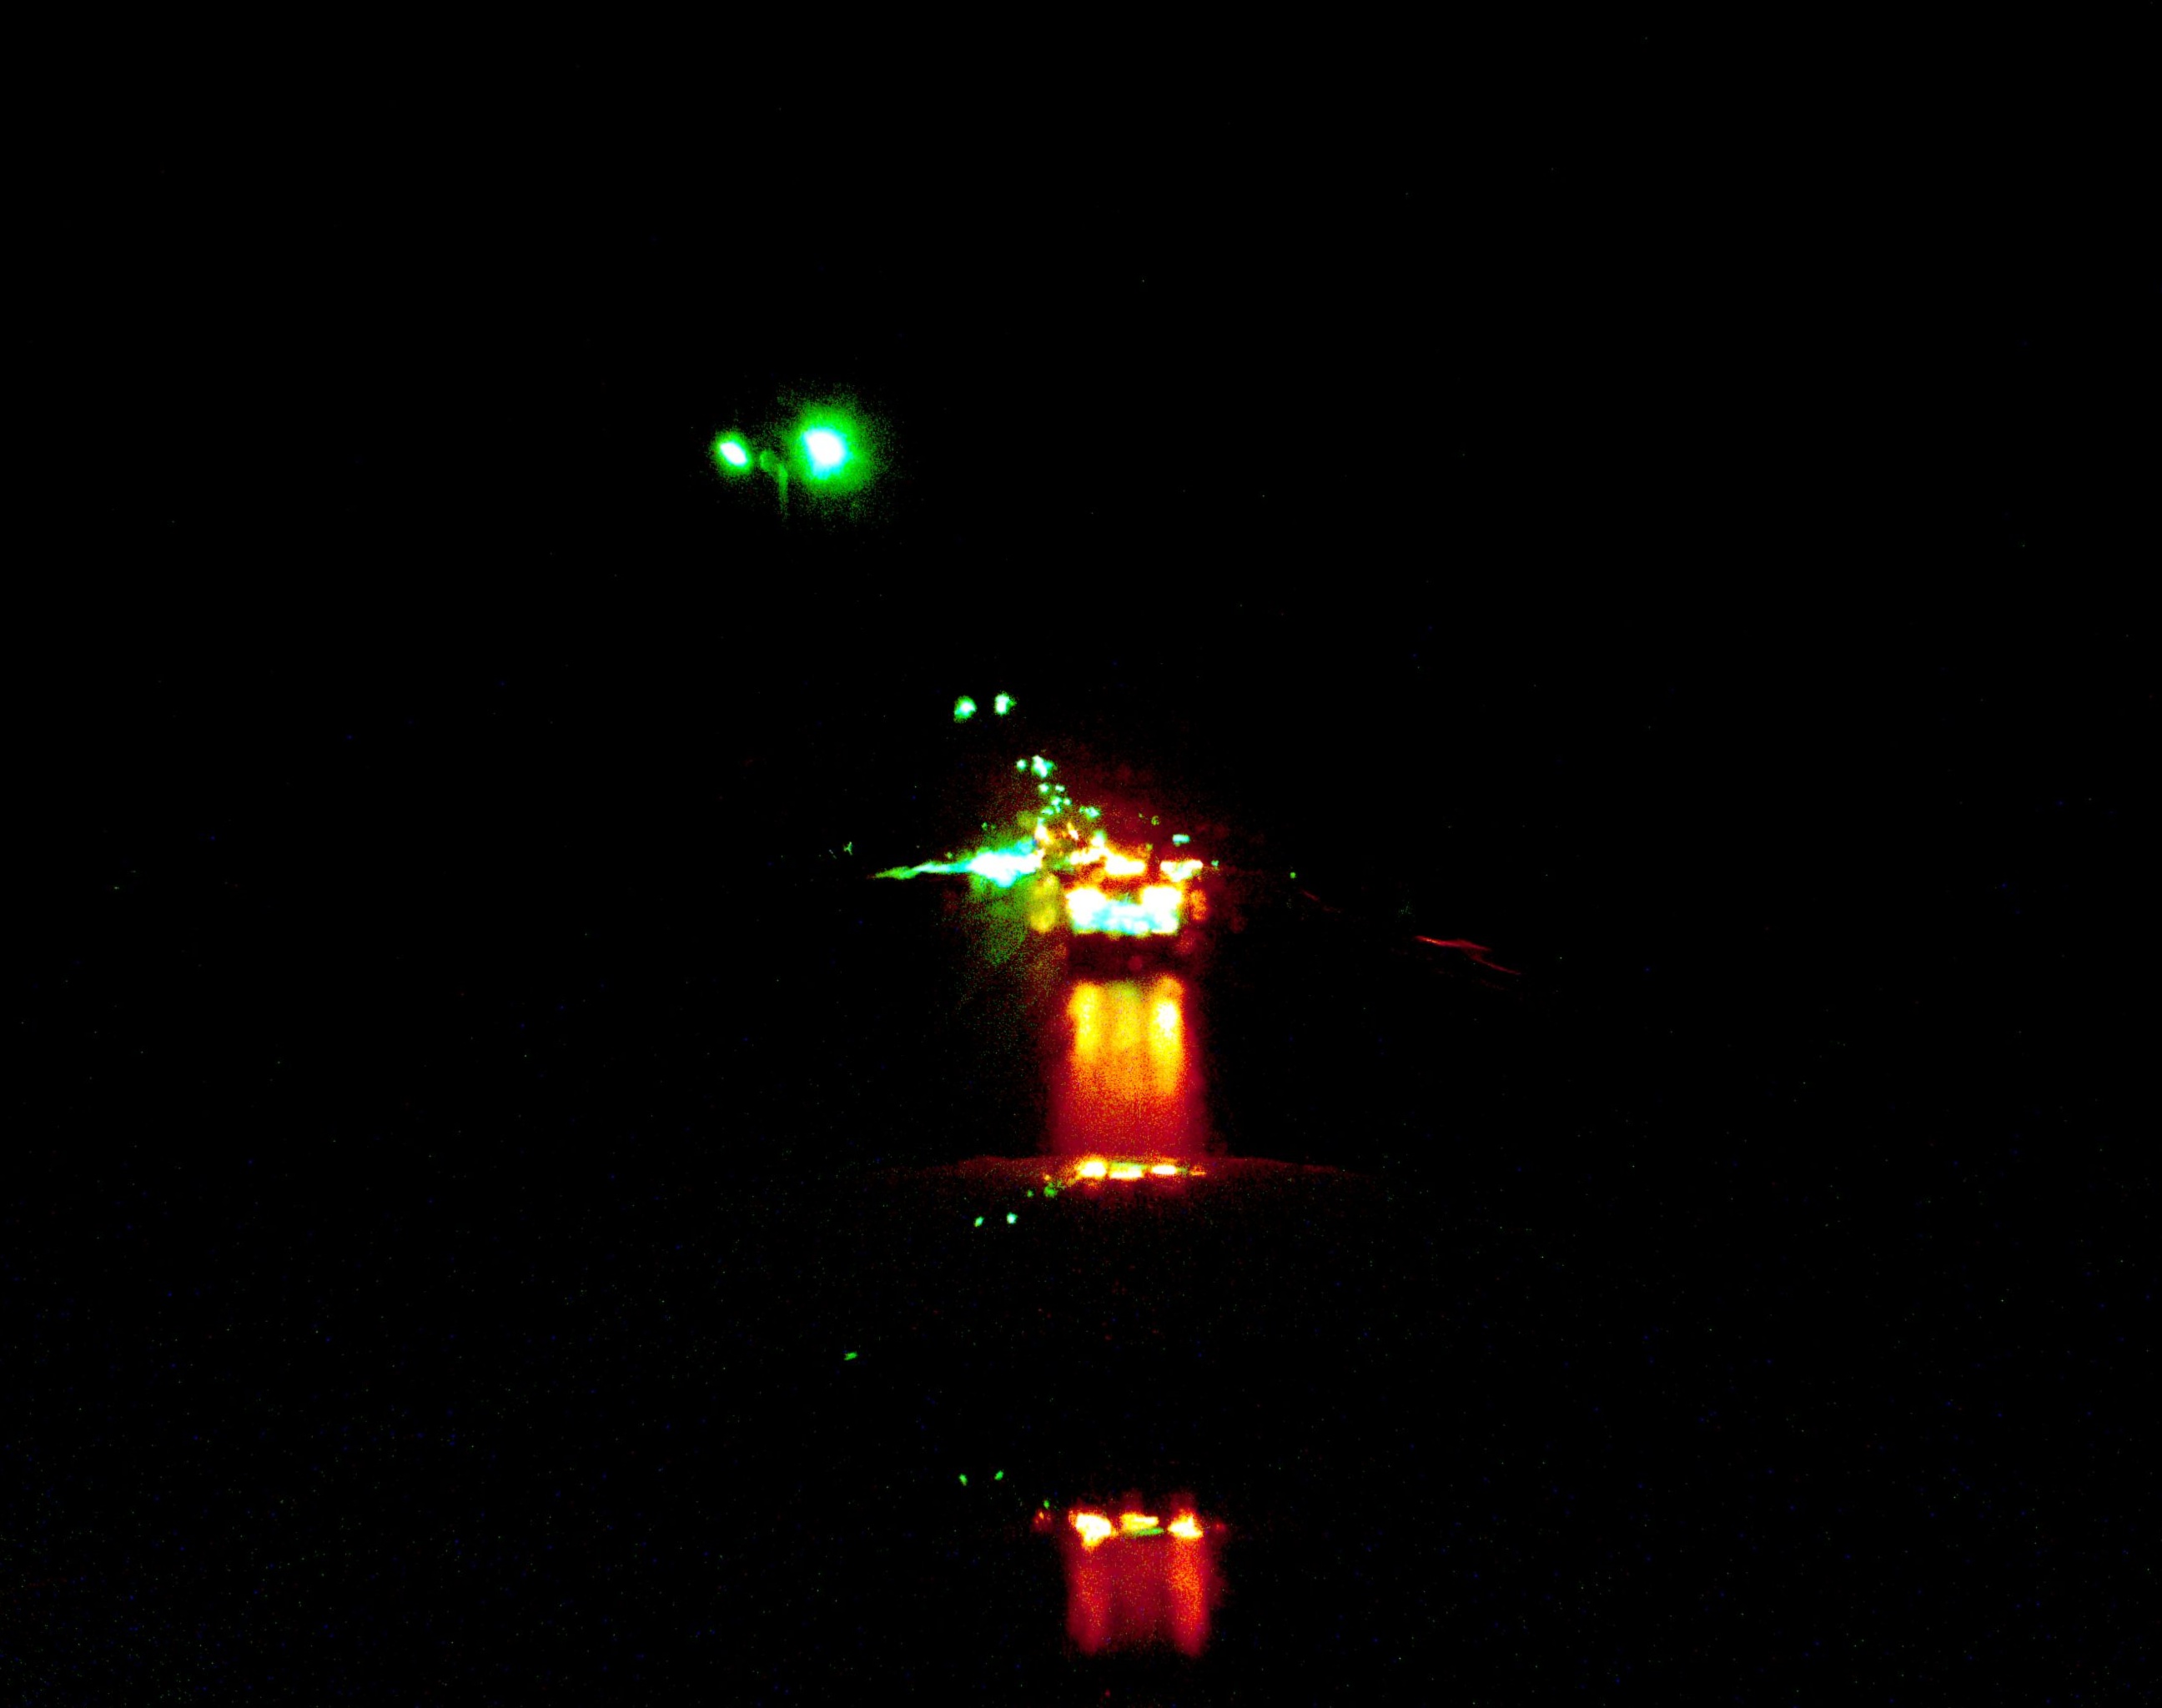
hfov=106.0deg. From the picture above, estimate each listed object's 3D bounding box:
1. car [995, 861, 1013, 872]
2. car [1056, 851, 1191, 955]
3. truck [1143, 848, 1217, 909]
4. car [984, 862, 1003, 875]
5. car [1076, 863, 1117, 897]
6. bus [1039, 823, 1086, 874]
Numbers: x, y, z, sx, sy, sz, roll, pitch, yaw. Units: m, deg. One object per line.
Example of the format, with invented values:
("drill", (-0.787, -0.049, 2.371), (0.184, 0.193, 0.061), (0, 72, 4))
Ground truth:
("car", (-10.868, 1.802, 115.284), (2.016, 1.502, 4.898), (0, -1, 1))
("car", (0.784, 0.726, 13.688), (1.935, 1.491, 3.721), (-1, 0, 5))
("truck", (4.571, 1.076, 37.568), (3.053, 2.528, 7.180), (0, -1, 7))
("car", (-10.045, 1.668, 93.278), (1.594, 1.552, 3.835), (0, -1, 2))
("car", (0.767, 1.183, 38.476), (1.815, 1.461, 3.718), (-1, 0, 2))
("bus", (-1.118, -0.365, 55.002), (2.734, 3.123, 9.204), (0, 0, 1))
